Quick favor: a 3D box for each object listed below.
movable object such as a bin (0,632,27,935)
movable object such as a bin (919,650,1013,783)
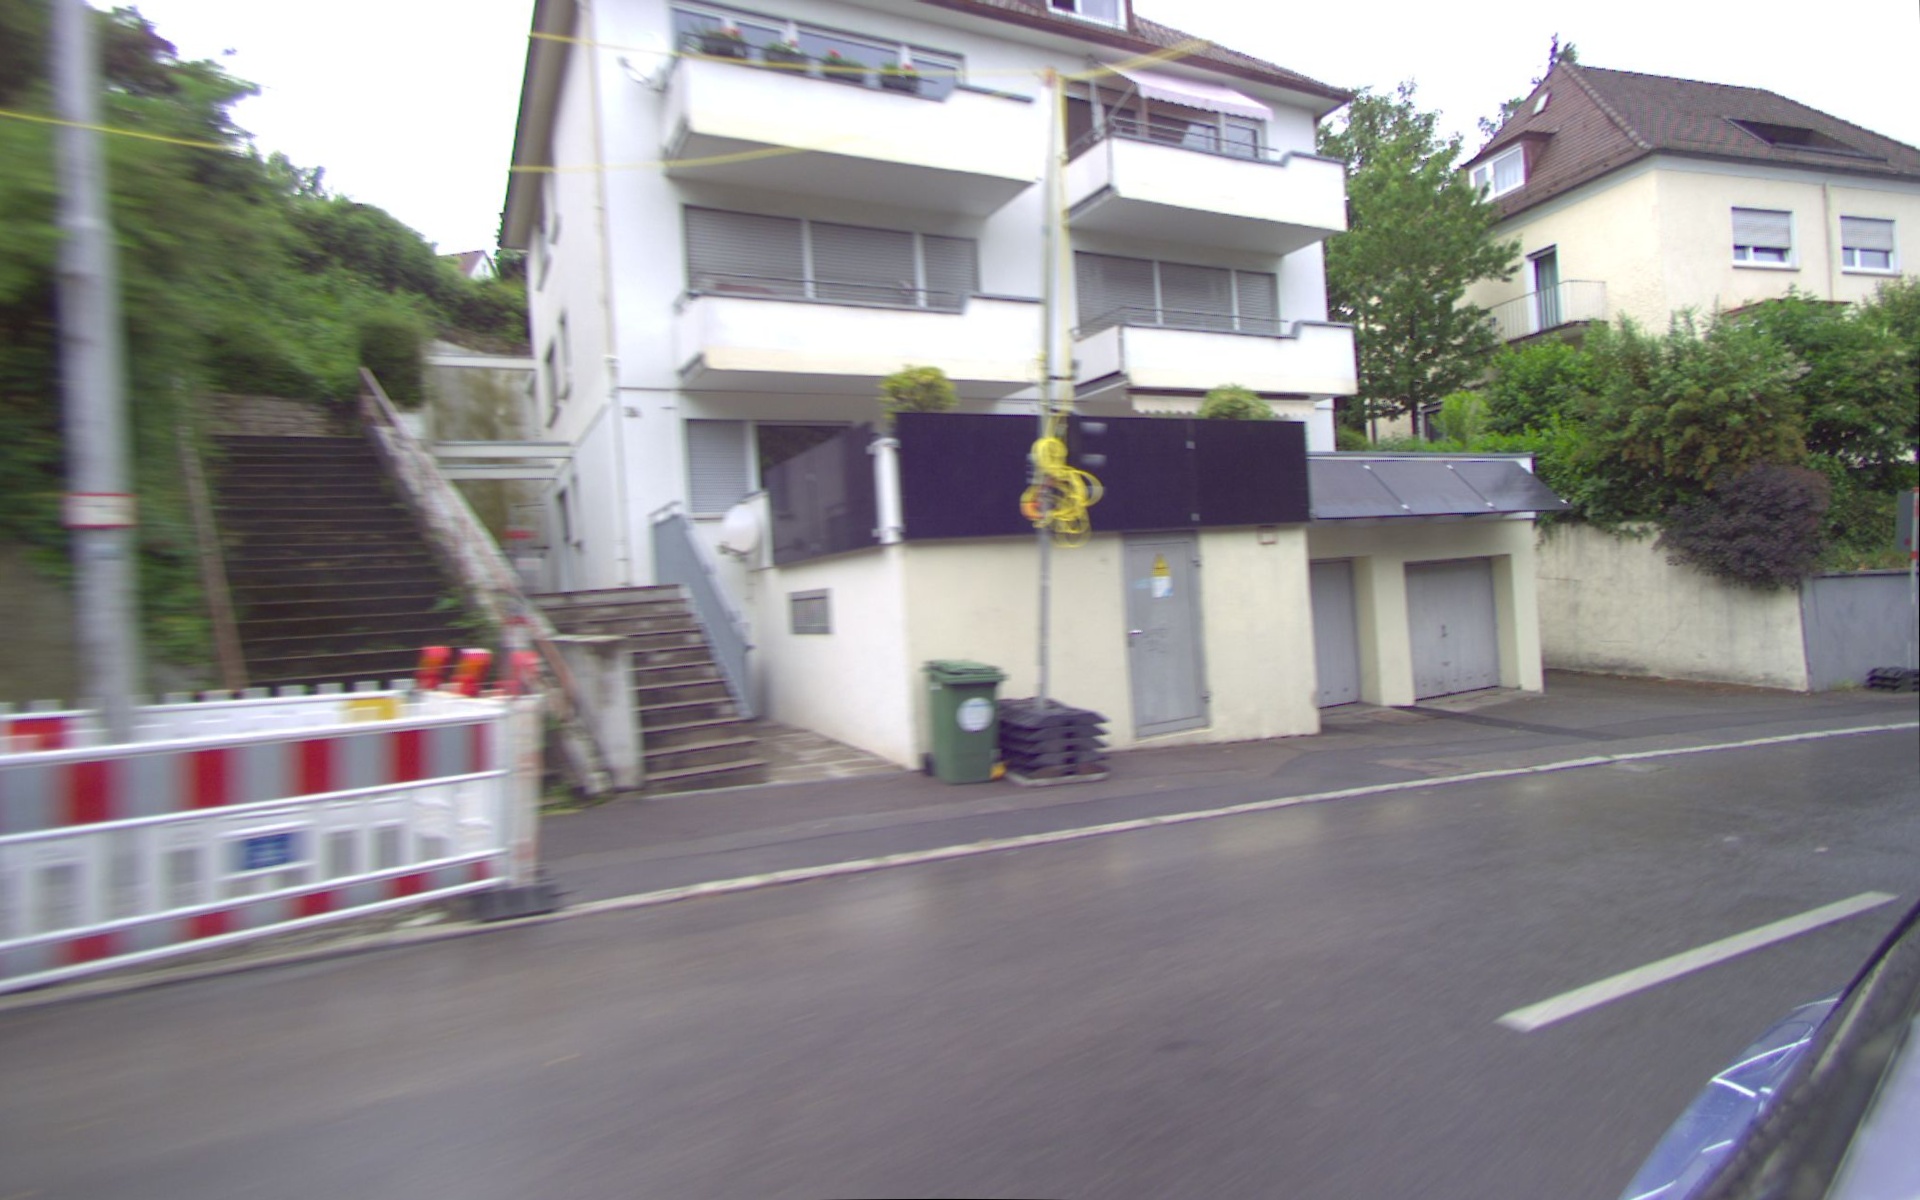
[{"bbox_3d":[-6.329,0.919,3.823,3.927,1.539,1.998,0,-2,-38],"label":"movable object such as a bin"},{"bbox_3d":[0.044,0.981,8.780,0.580,1.045,0.723,-1,0,-21],"label":"movable object such as a bin"}]
